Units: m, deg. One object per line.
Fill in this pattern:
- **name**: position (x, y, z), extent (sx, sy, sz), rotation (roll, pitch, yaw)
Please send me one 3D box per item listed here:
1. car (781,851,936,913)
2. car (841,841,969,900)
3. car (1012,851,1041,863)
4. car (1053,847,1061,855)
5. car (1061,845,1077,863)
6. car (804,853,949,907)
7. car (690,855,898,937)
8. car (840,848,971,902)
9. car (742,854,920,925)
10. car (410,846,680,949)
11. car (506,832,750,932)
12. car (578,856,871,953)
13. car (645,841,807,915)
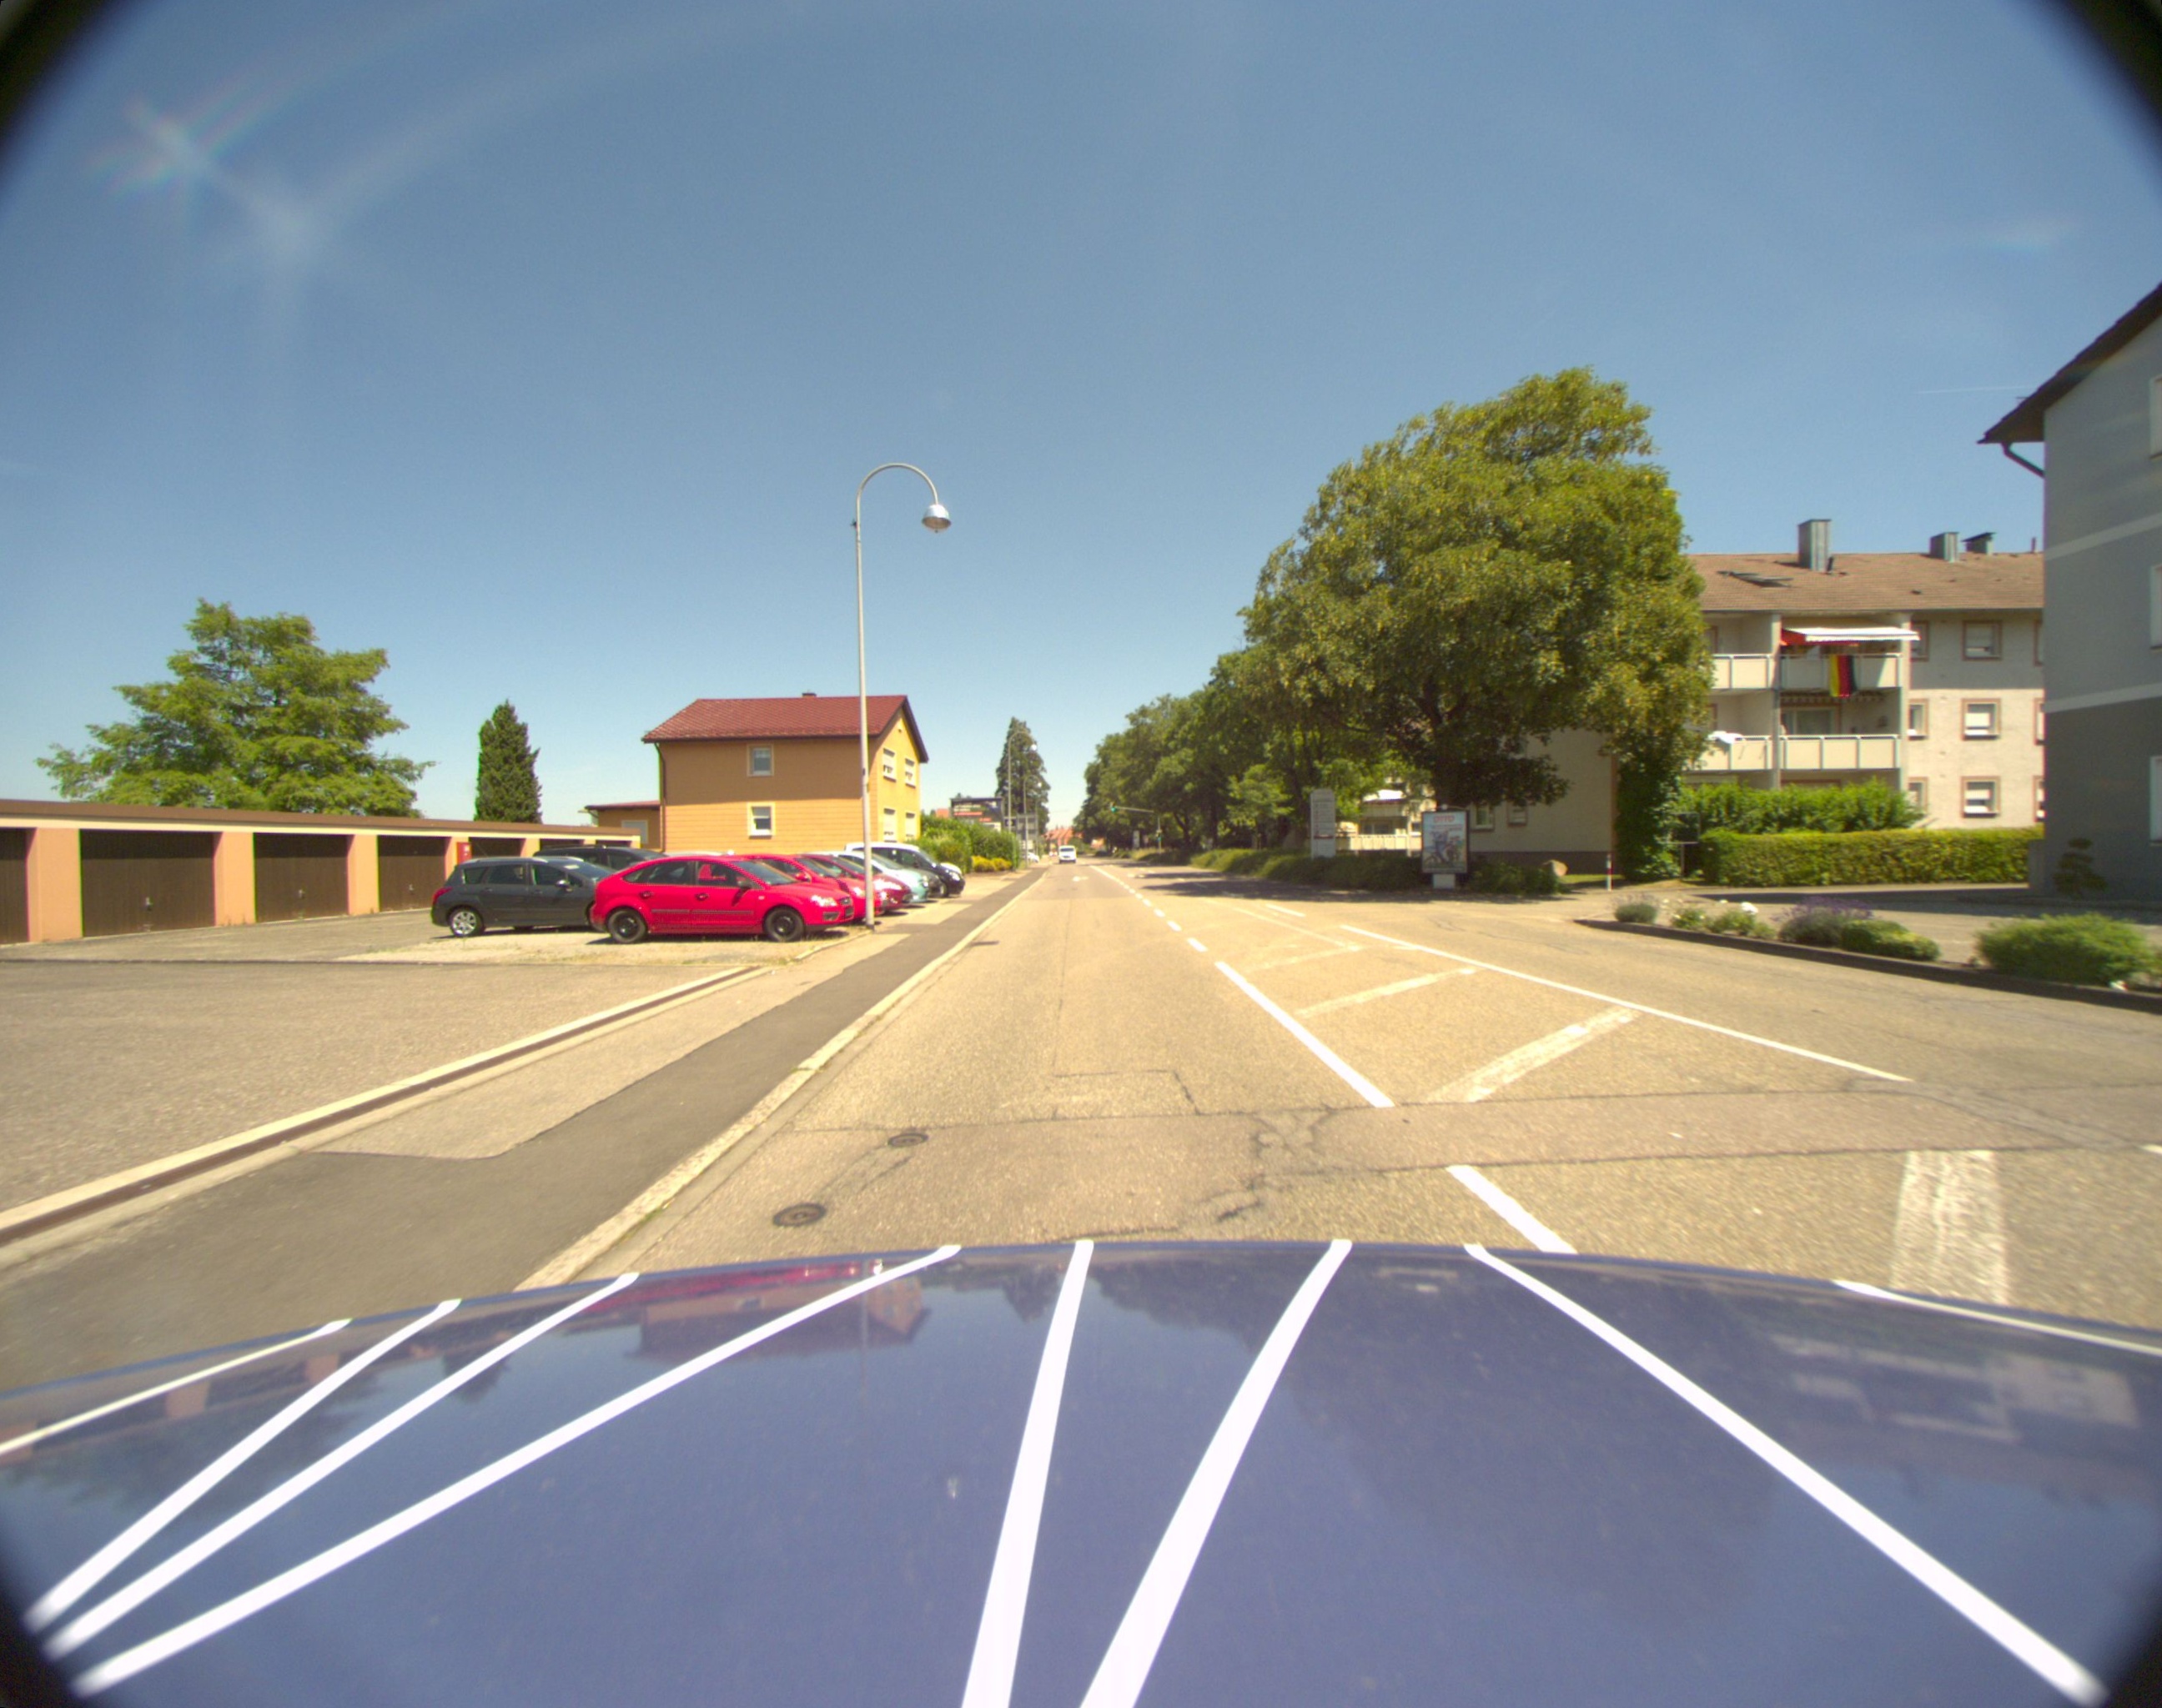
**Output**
- **car**: position (-5.899, 0.726, 20.444), extent (3.694, 1.557, 1.641), rotation (-1, 1, -2)
- **car**: position (-6.139, 0.552, 26.940), extent (4.146, 1.927, 1.807), rotation (-2, 1, -5)
- **car**: position (-6.992, 0.372, 97.850), extent (3.637, 1.375, 1.626), rotation (-2, 1, 1)
- **car**: position (-6.533, -0.850, 206.377), extent (1.862, 2.002, 4.000), rotation (-1, 1, 1)
- **car**: position (-1.376, -0.055, 87.150), extent (1.796, 1.904, 3.639), rotation (-2, 1, -2)
- **car**: position (-5.992, 0.742, 22.589), extent (3.802, 1.501, 1.833), rotation (-1, 1, 1)
- **car**: position (-5.883, 0.828, 15.930), extent (3.695, 1.557, 1.708), rotation (-1, 1, -3)
- **car**: position (-5.660, 0.654, 24.850), extent (3.886, 1.671, 1.763), rotation (-1, 1, -3)
- **car**: position (-5.885, 0.806, 18.236), extent (3.695, 1.557, 1.749), rotation (-1, 1, -4)
- **car**: position (-10.704, 0.825, 15.408), extent (4.050, 1.658, 1.782), rotation (-5, 1, 0)
- **car**: position (-10.477, 0.605, 17.870), extent (4.352, 1.885, 1.971), rotation (-5, 1, -3)
- **car**: position (-6.123, 0.835, 13.461), extent (4.235, 1.526, 1.958), rotation (-1, 1, -1)
- **car**: position (-10.579, 0.690, 22.826), extent (3.903, 1.828, 1.688), rotation (-4, 1, 2)
